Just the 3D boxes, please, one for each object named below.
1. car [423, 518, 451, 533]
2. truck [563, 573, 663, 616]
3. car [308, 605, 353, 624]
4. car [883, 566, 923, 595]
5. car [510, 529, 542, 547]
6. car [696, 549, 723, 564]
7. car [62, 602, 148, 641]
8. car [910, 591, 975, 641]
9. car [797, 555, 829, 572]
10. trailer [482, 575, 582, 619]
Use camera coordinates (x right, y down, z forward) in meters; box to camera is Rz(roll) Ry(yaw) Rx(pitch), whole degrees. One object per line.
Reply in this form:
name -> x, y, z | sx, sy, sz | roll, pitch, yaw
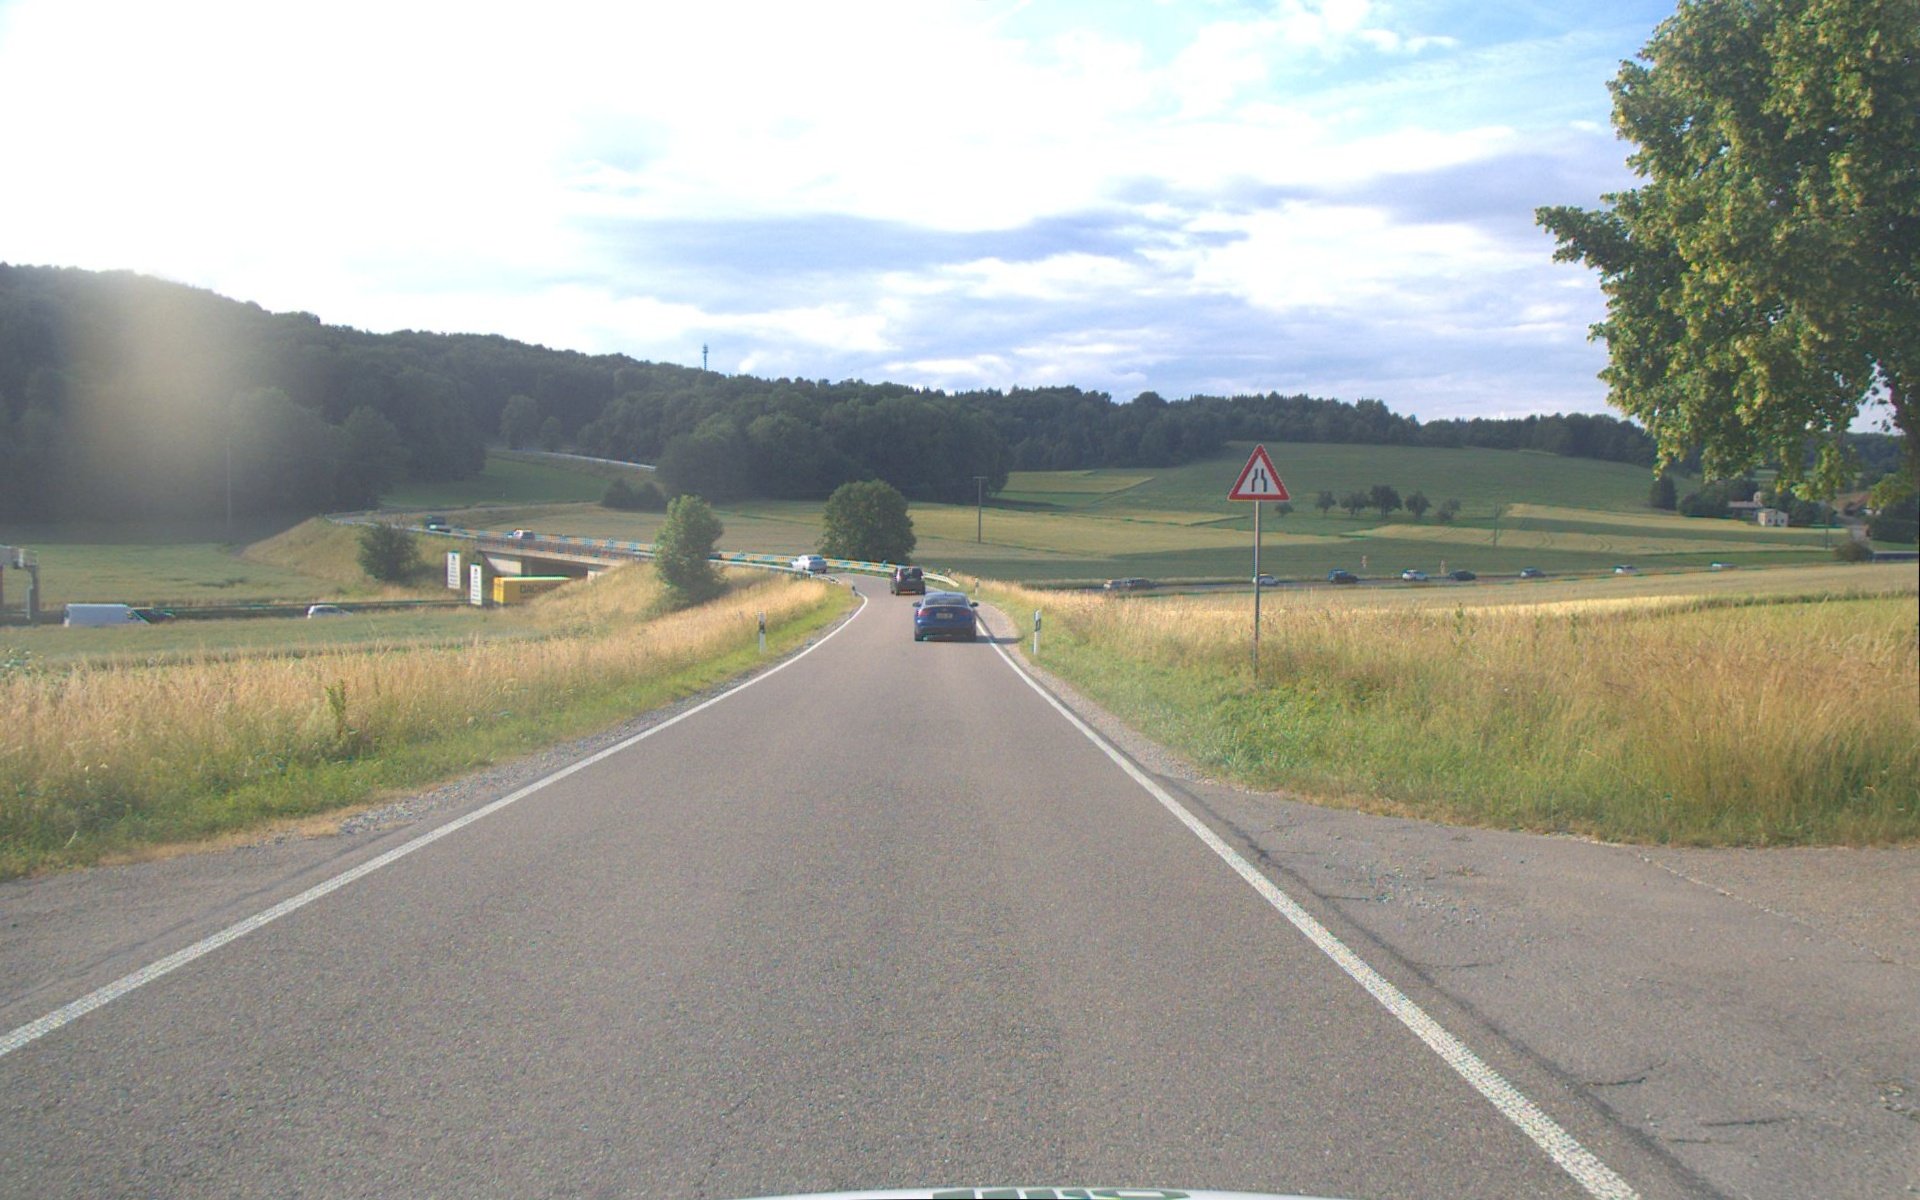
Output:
car -> -65.133, -9.261, 205.856 | 1.980, 1.802, 3.946 | -4, 4, -38
truck -> -36.149, -0.621, 172.746 | 9.721, 4.130, 3.778 | -2, 3, -43
car -> -59.010, 1.358, 155.120 | 3.585, 1.661, 1.632 | -2, 0, -39
car -> -3.387, -1.161, 97.664 | 1.828, 1.596, 3.992 | -2, 1, -9
car -> -48.716, -6.961, 185.497 | 1.979, 1.707, 4.124 | 2, 3, -38
car -> -23.000, -3.985, 151.891 | 1.455, 1.248, 3.269 | -2, 3, -28
car -> -72.828, 1.795, 140.919 | 6.080, 2.627, 2.337 | -5, 11, -45
car -> -0.519, 0.440, 48.641 | 1.781, 1.362, 4.349 | -2, 0, -1
car -> -11.881, -2.932, 133.277 | 1.657, 1.400, 3.977 | -1, 1, -20
trailer -> -42.984, -0.348, 166.435 | 9.054, 4.130, 3.778 | -2, 3, -43
